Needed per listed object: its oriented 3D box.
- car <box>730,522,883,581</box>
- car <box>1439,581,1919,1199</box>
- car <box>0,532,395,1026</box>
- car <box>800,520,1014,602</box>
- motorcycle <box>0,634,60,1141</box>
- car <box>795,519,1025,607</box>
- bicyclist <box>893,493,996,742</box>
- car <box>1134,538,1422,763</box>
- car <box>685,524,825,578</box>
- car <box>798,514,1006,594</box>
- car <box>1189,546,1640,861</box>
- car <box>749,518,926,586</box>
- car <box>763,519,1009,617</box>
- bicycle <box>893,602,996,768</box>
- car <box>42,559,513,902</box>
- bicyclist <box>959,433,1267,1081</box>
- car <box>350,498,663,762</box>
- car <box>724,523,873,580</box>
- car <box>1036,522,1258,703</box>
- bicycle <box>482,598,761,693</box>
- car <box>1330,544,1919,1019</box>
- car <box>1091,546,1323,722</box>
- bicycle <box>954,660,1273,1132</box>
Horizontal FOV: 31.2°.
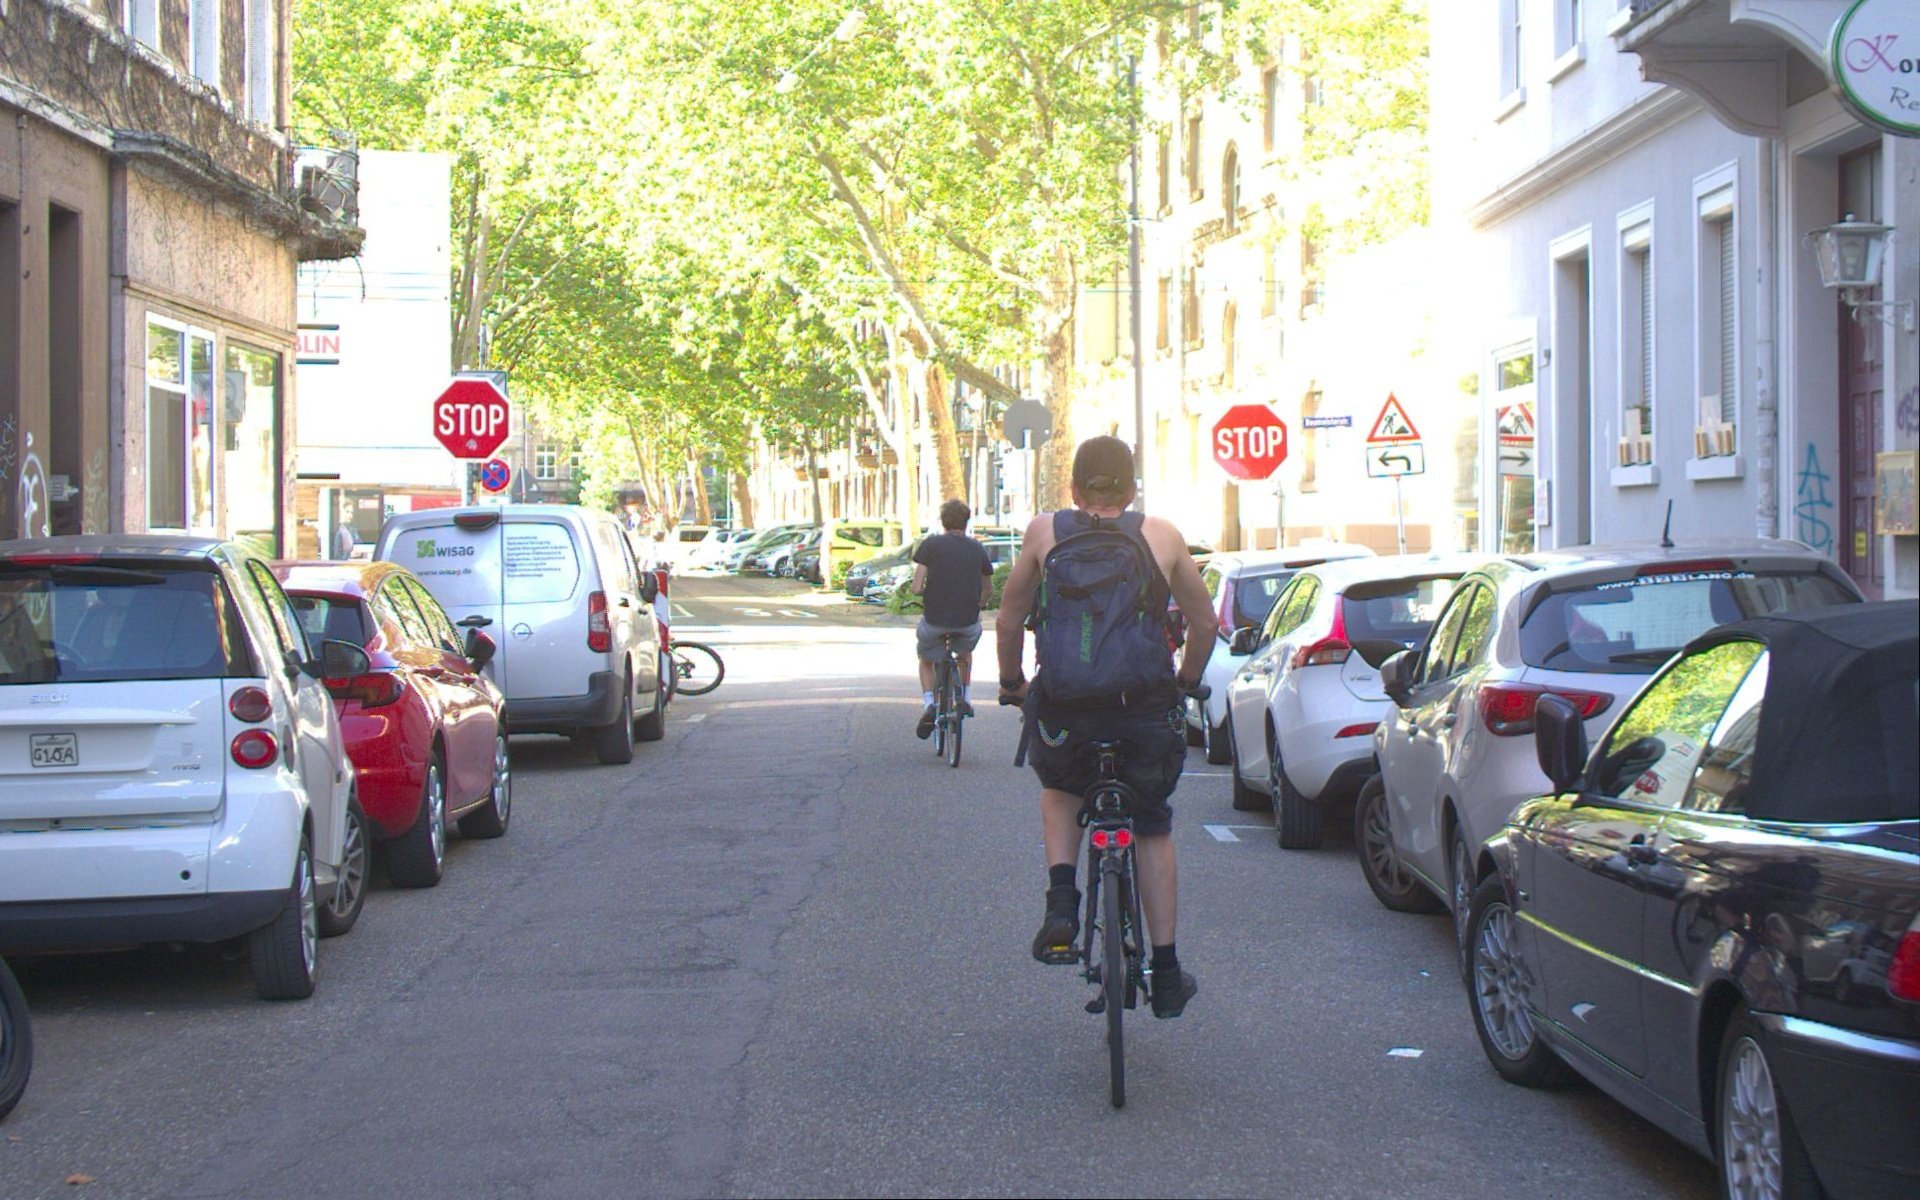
[{"bbox_3d":[-4.569,-1.440,102.005,4.468,1.690,1.867,-1,1,-5],"label":"car"},{"bbox_3d":[2.298,0.658,7.941,1.657,1.334,4.001,-1,1,-2],"label":"car"},{"bbox_3d":[-3.019,0.532,12.525,1.544,1.545,3.466,-1,1,-4],"label":"car"},{"bbox_3d":[-1.159,-0.840,73.687,4.468,1.690,1.867,-1,1,-5],"label":"car"},{"bbox_3d":[-3.237,0.738,8.776,1.795,1.251,0.710,-1,1,-14],"label":"motorcycle"},{"bbox_3d":[-1.025,-0.750,68.940,4.468,1.690,1.867,-1,1,-5],"label":"car"},{"bbox_3d":[-0.109,0.107,23.394,0.669,1.653,0.877,-1,1,-1],"label":"bicyclist"},{"bbox_3d":[2.286,0.314,25.485,1.652,1.525,3.575,-1,1,-2],"label":"car"},{"bbox_3d":[-6.677,-1.614,111.857,4.468,1.690,1.867,-1,1,-5],"label":"car"},{"bbox_3d":[-1.314,-1.028,76.167,4.468,1.690,1.867,-1,1,-5],"label":"car"},{"bbox_3d":[2.303,0.461,18.378,1.710,1.465,4.001,-1,1,-2],"label":"car"},{"bbox_3d":[-3.186,-1.240,89.011,4.468,1.690,1.867,-1,1,-5],"label":"car"},{"bbox_3d":[-1.411,-0.601,64.152,4.468,1.753,1.867,-1,1,-5],"label":"car"},{"bbox_3d":[-0.112,0.557,23.446,0.664,1.034,1.959,-1,1,-1],"label":"bicycle"},{"bbox_3d":[-3.106,0.526,16.290,1.552,1.395,3.668,-1,1,-1],"label":"car"},{"bbox_3d":[0.398,0.399,9.513,0.740,1.673,1.117,1,1,-1],"label":"bicyclist"},{"bbox_3d":[-3.171,0.159,24.723,1.787,1.731,3.876,-1,1,-1],"label":"car"},{"bbox_3d":[-4.969,-1.490,105.174,4.468,1.690,1.867,-1,1,-5],"label":"car"},{"bbox_3d":[1.889,0.082,35.881,1.893,1.763,4.001,-1,1,-3],"label":"car"},{"bbox_3d":[-3.342,0.448,34.097,2.715,0.889,0.619,-1,1,-3],"label":"bicycle"},{"bbox_3d":[2.408,0.548,12.921,1.592,1.487,3.876,-1,1,0],"label":"car"},{"bbox_3d":[2.174,0.258,31.060,1.686,1.466,3.575,-1,1,-2],"label":"car"},{"bbox_3d":[0.385,0.763,9.660,0.740,1.097,2.042,1,1,-1],"label":"bicycle"}]
